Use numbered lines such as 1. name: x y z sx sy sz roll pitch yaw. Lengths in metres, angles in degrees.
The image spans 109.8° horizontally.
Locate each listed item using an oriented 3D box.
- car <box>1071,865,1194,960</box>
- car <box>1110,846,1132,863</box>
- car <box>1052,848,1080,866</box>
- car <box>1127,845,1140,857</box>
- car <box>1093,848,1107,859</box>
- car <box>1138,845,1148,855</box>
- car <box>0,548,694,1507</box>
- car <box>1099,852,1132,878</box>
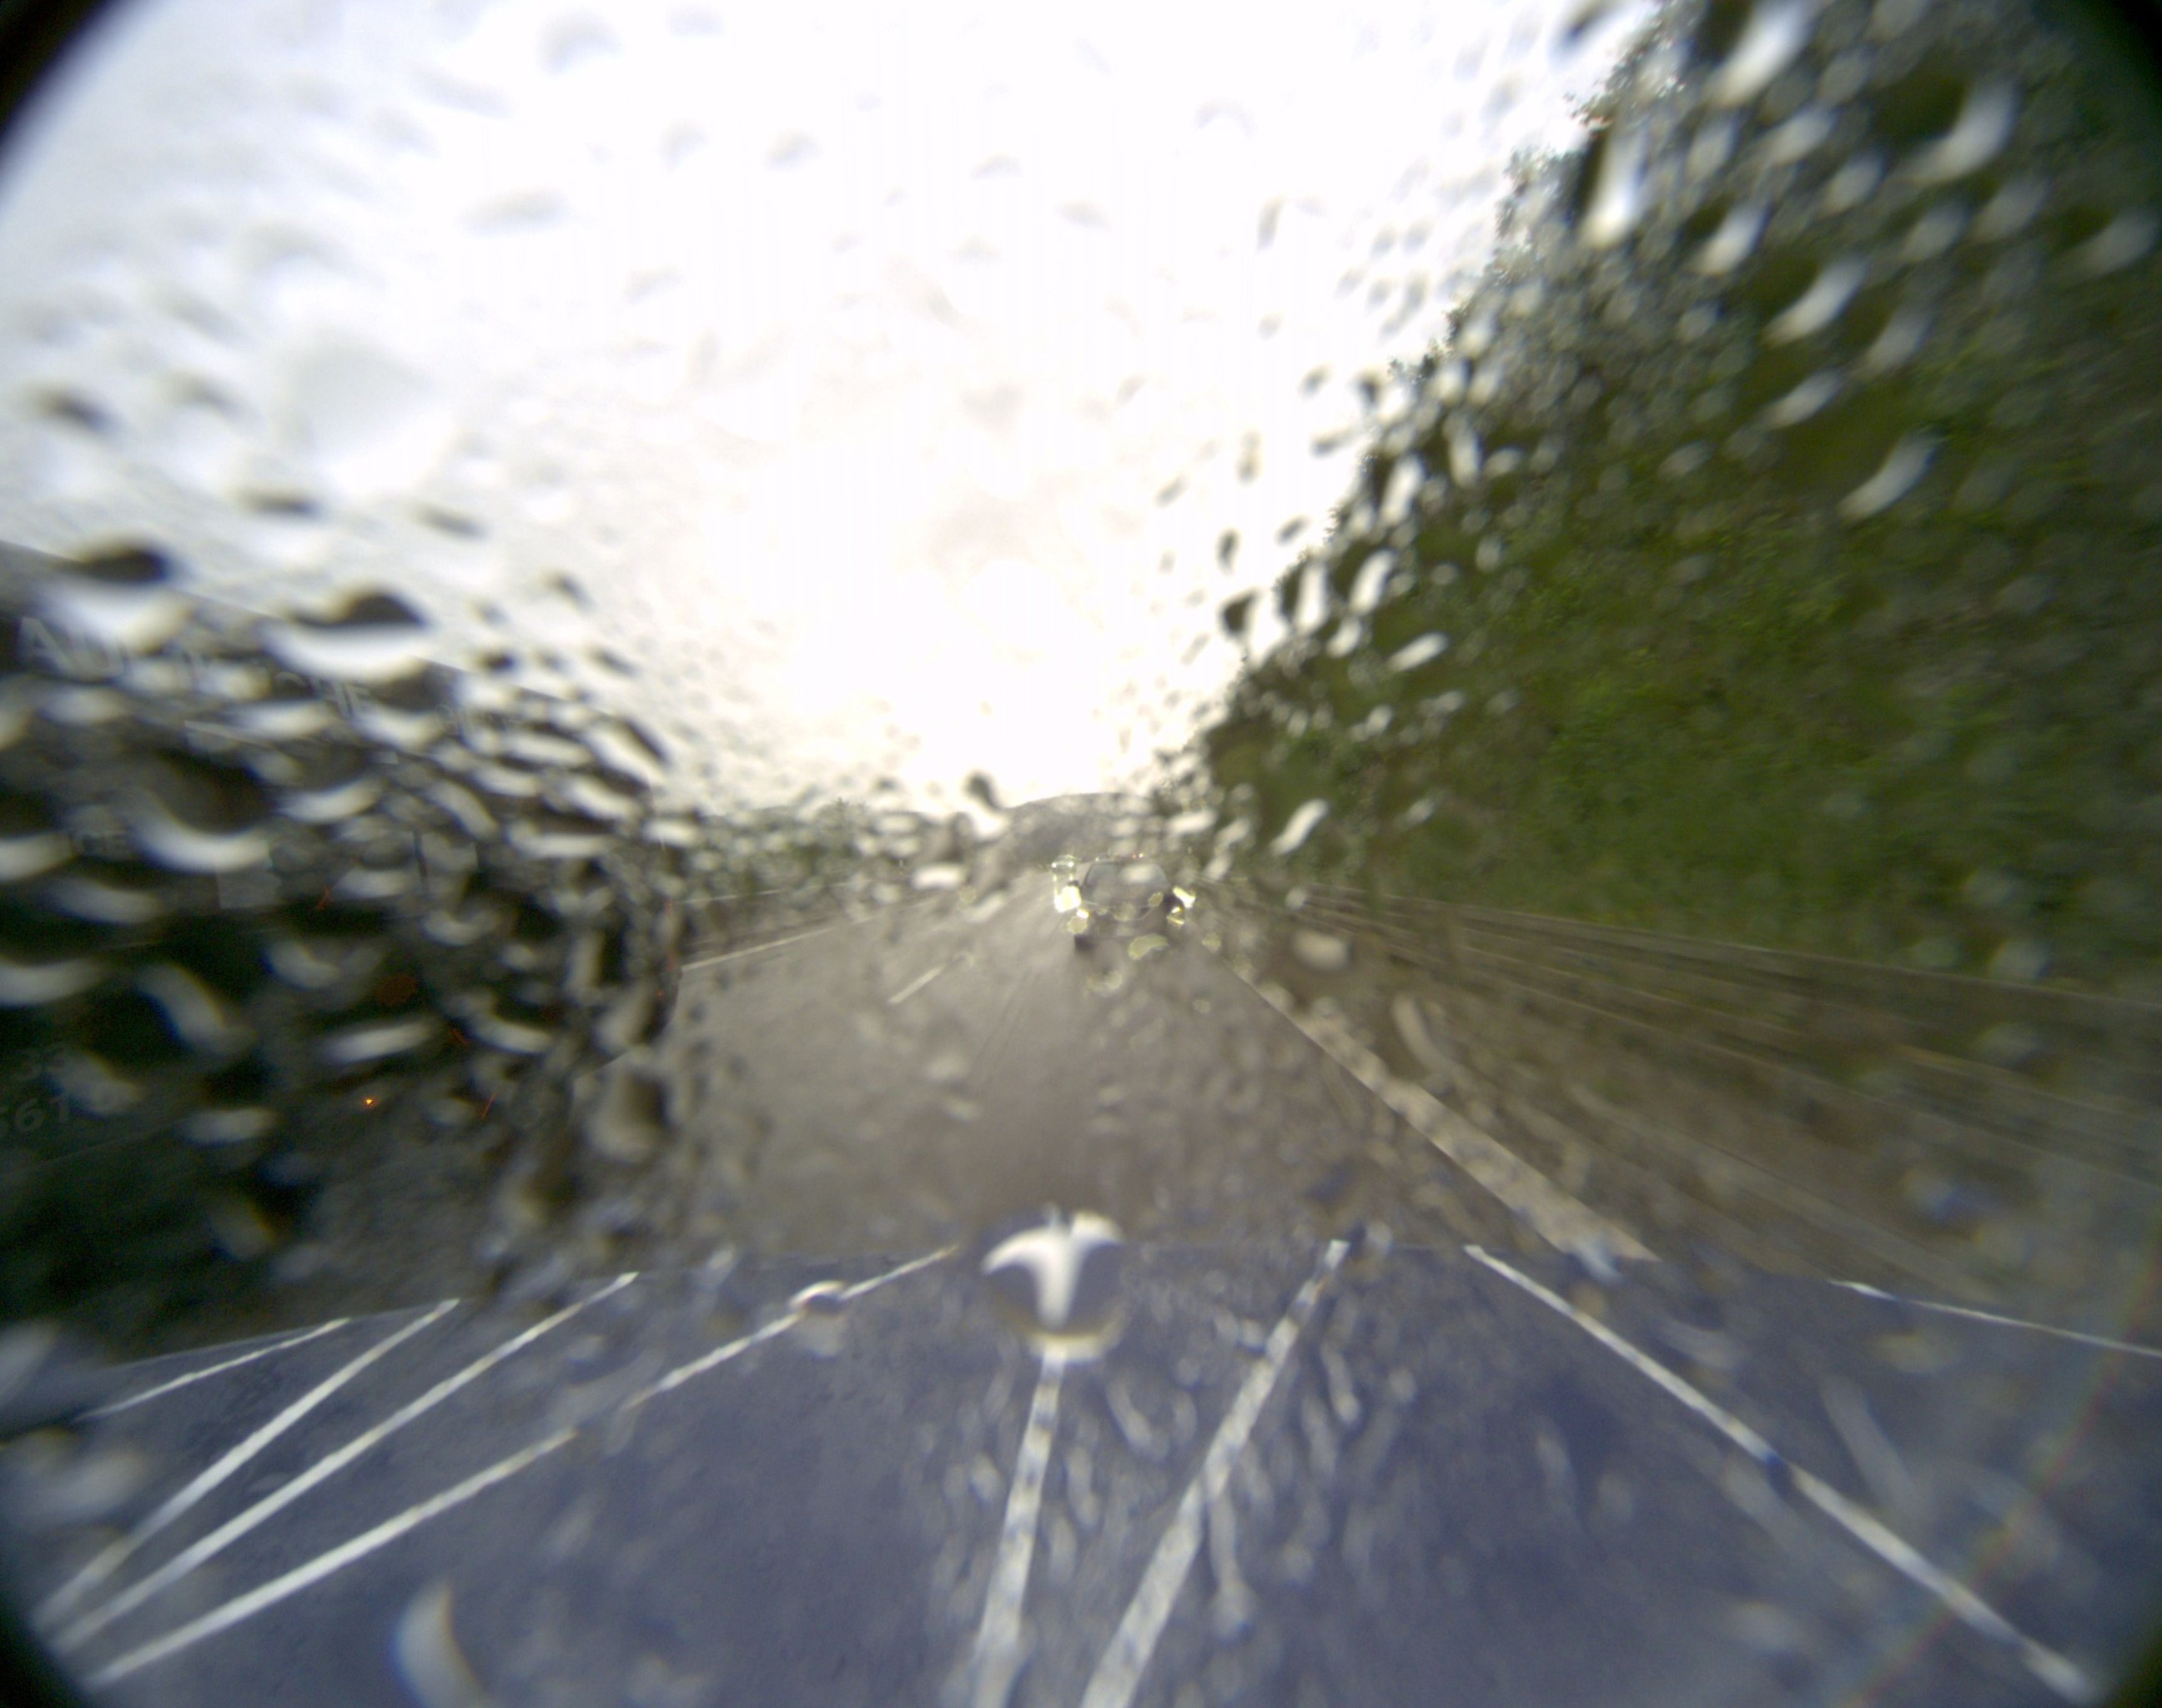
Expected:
1. car: 0.781 0.924 13.637 1.839 1.316 4.135 -2 0 0
2. car: 3.813 0.013 72.786 1.906 1.545 4.564 -2 0 2
3. car: -1.275 0.202 65.618 1.990 1.407 4.565 -3 0 3
4. car: 8.249 -0.459 119.889 1.592 1.895 3.752 -2 0 -2
5. car: 2.942 -0.092 115.624 1.990 1.407 4.565 -3 0 3
6. car: 12.895 -0.868 158.204 1.909 2.002 4.000 -2 1 1
7. car: -3.809 0.466 1.959 1.998 2.480 6.704 -2 1 1
8. car: 2.004 0.580 43.650 1.712 1.316 3.946 -3 0 4
